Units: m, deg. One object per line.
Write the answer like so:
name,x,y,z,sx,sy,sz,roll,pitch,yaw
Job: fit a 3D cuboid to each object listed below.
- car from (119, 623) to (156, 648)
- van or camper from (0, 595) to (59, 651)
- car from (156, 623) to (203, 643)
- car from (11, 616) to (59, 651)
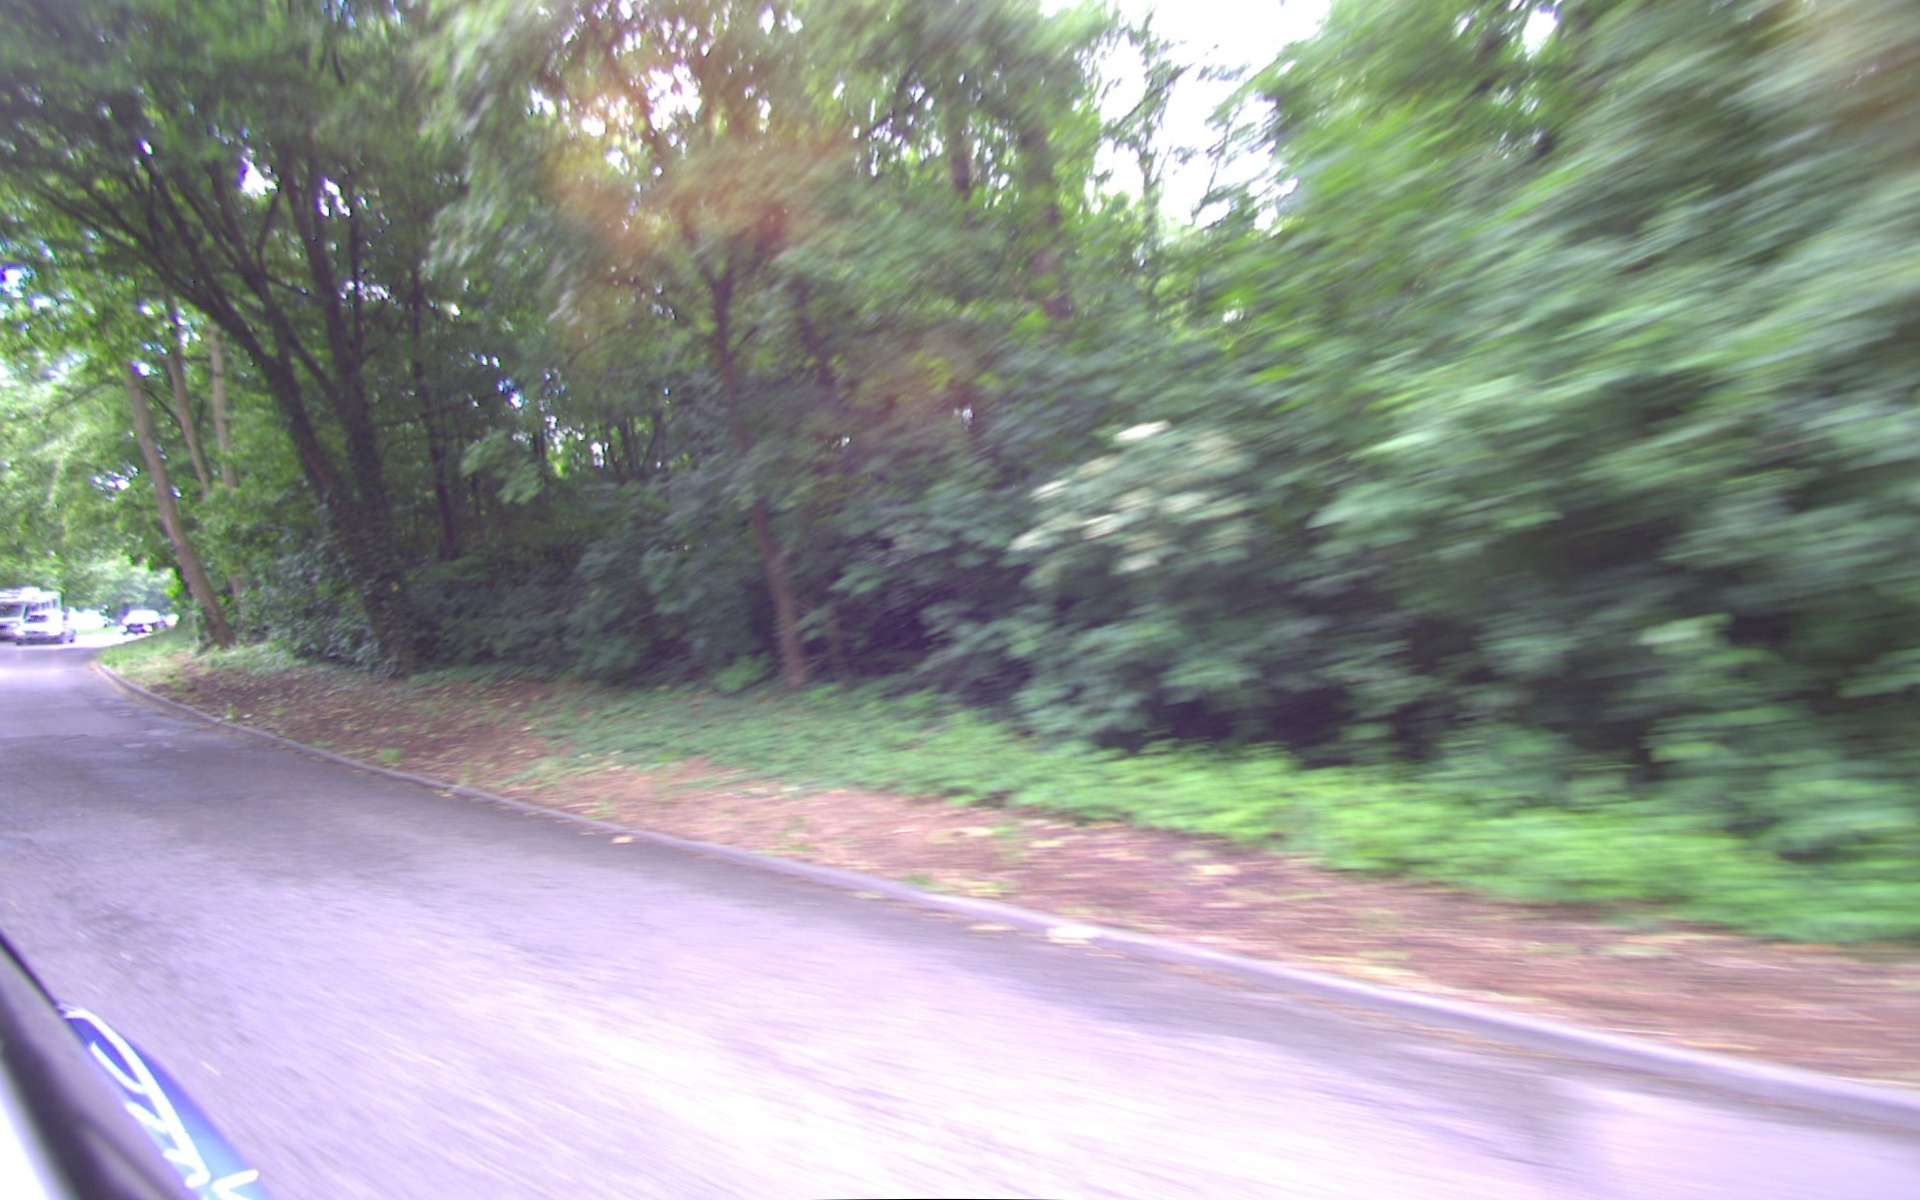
car,-56.217,2.401,69.209,1.740,1.580,4.055,-2,0,-37
van or camper,-53.989,1.355,57.556,2.390,3.002,7.416,-2,0,-28
car,-66.546,2.819,86.342,1.687,1.563,4.692,-2,0,-19
car,-45.471,1.649,49.705,1.631,1.580,4.049,-2,0,-44
